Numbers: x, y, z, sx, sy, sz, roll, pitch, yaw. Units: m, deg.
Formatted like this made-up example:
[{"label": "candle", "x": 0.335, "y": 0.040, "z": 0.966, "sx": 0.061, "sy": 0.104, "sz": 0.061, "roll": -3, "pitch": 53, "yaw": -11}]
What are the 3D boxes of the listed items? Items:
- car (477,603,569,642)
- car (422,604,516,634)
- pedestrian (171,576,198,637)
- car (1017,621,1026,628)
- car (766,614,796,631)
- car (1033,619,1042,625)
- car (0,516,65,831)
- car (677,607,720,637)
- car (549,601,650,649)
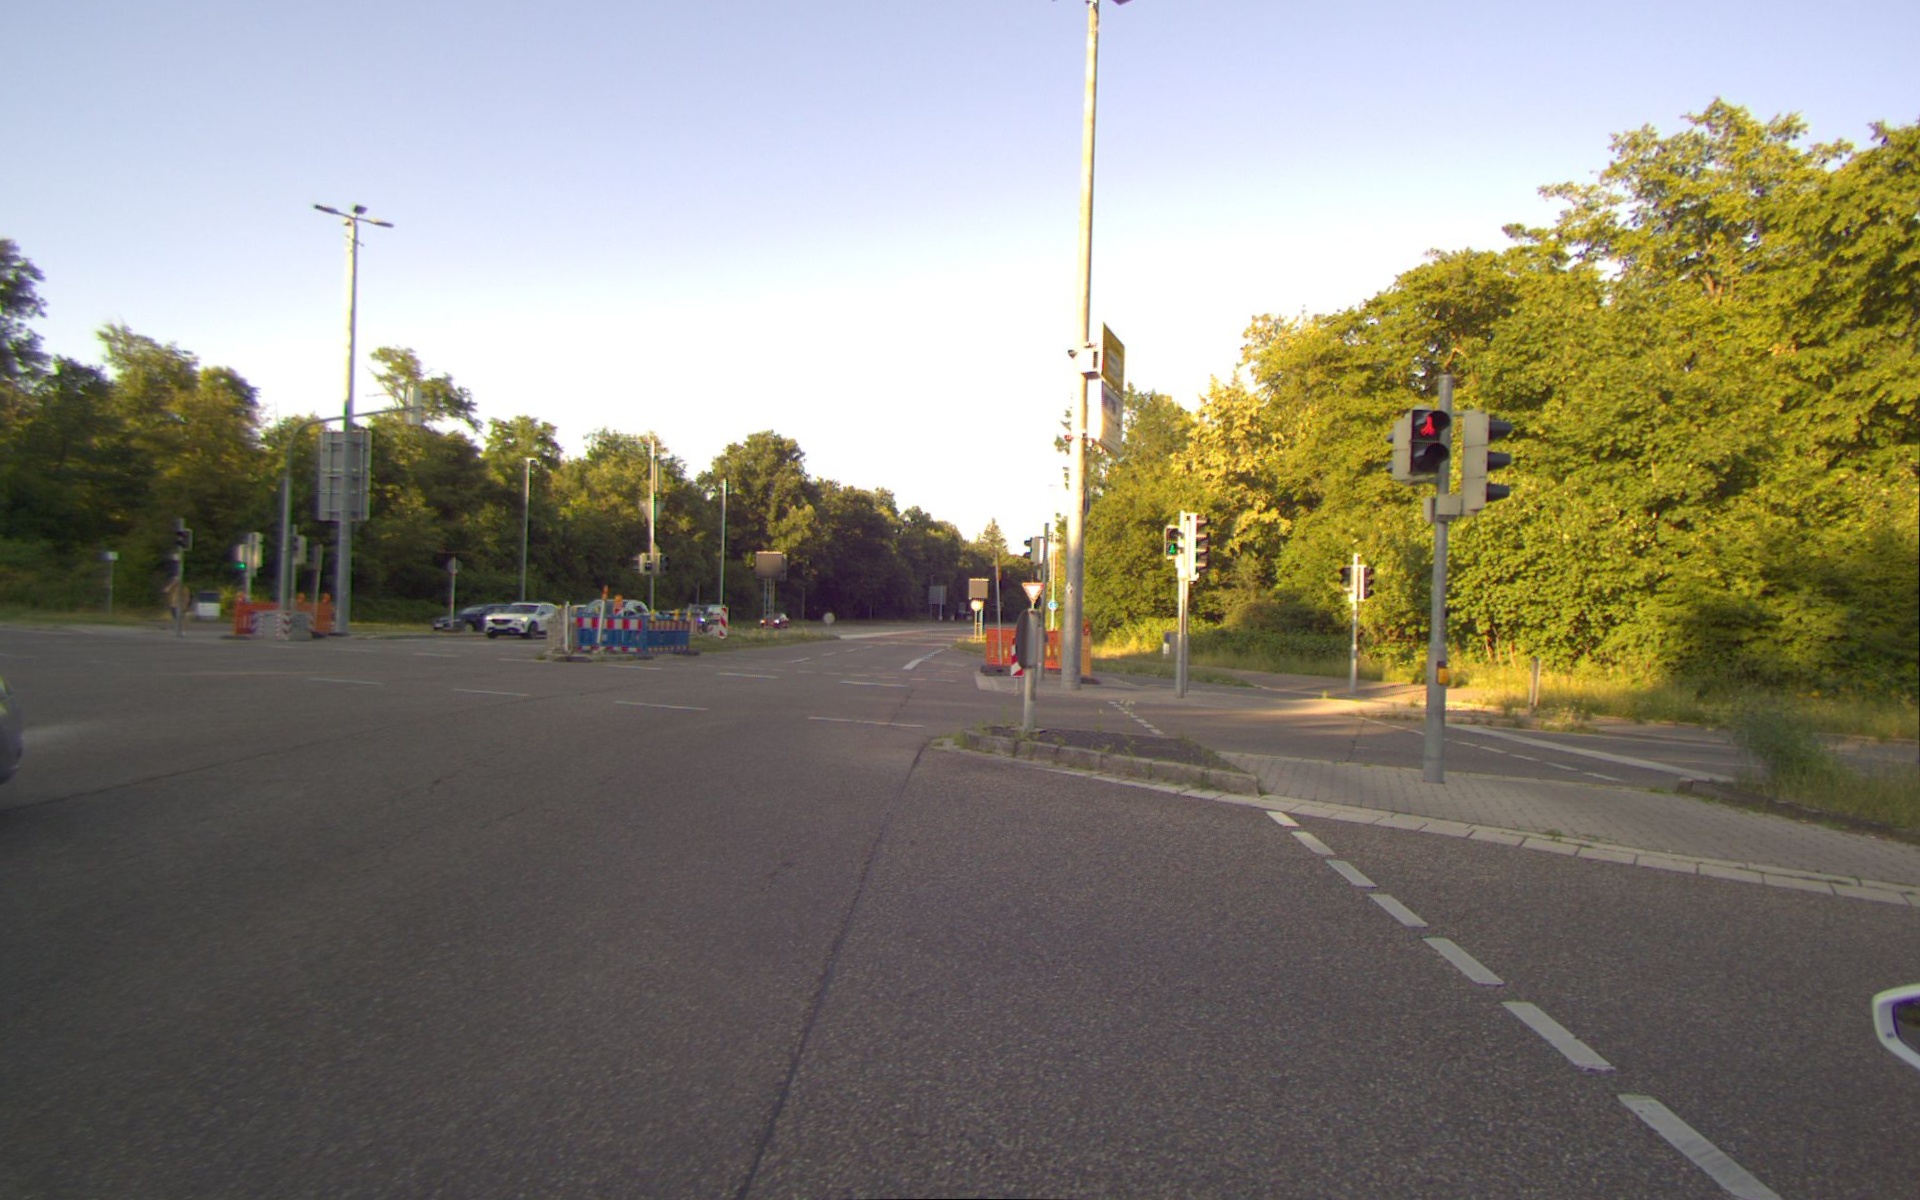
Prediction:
[{"label": "car", "x": -17.826, "y": 0.908, "z": 41.186, "sx": 1.687, "sy": 1.475, "sz": 4.235, "roll": 2, "pitch": -1, "yaw": 4}, {"label": "car", "x": -22.512, "y": 0.890, "z": 46.164, "sx": 1.577, "sy": 1.261, "sz": 3.644, "roll": 2, "pitch": -1, "yaw": 25}, {"label": "pedestrian", "x": -23.482, "y": 0.191, "z": 30.425, "sx": 0.569, "sy": 1.824, "sz": 0.743, "roll": 1, "pitch": 0, "yaw": -33}, {"label": "car", "x": 11.922, "y": 4.709, "z": 194.185, "sx": 1.521, "sy": 1.365, "sz": 3.116, "roll": 2, "pitch": 0, "yaw": 6}, {"label": "car", "x": -16.582, "y": 2.087, "z": 93.195, "sx": 1.846, "sy": 1.440, "sz": 4.235, "roll": 2, "pitch": -1, "yaw": 3}, {"label": "car", "x": 16.662, "y": 4.650, "z": 214.594, "sx": 1.431, "sy": 1.260, "sz": 2.965, "roll": 2, "pitch": -1, "yaw": 14}, {"label": "car", "x": -6.142, "y": 0.376, "z": 3.579, "sx": 1.836, "sy": 1.747, "sz": 4.658, "roll": 1, "pitch": 0, "yaw": -3}, {"label": "car", "x": -18.502, "y": 1.530, "z": 71.293, "sx": 1.847, "sy": 2.051, "sz": 4.233, "roll": 2, "pitch": -1, "yaw": 0}, {"label": "car", "x": -12.245, "y": 0.821, "z": 34.405, "sx": 1.687, "sy": 1.475, "sz": 4.235, "roll": 2, "pitch": -1, "yaw": 4}]
